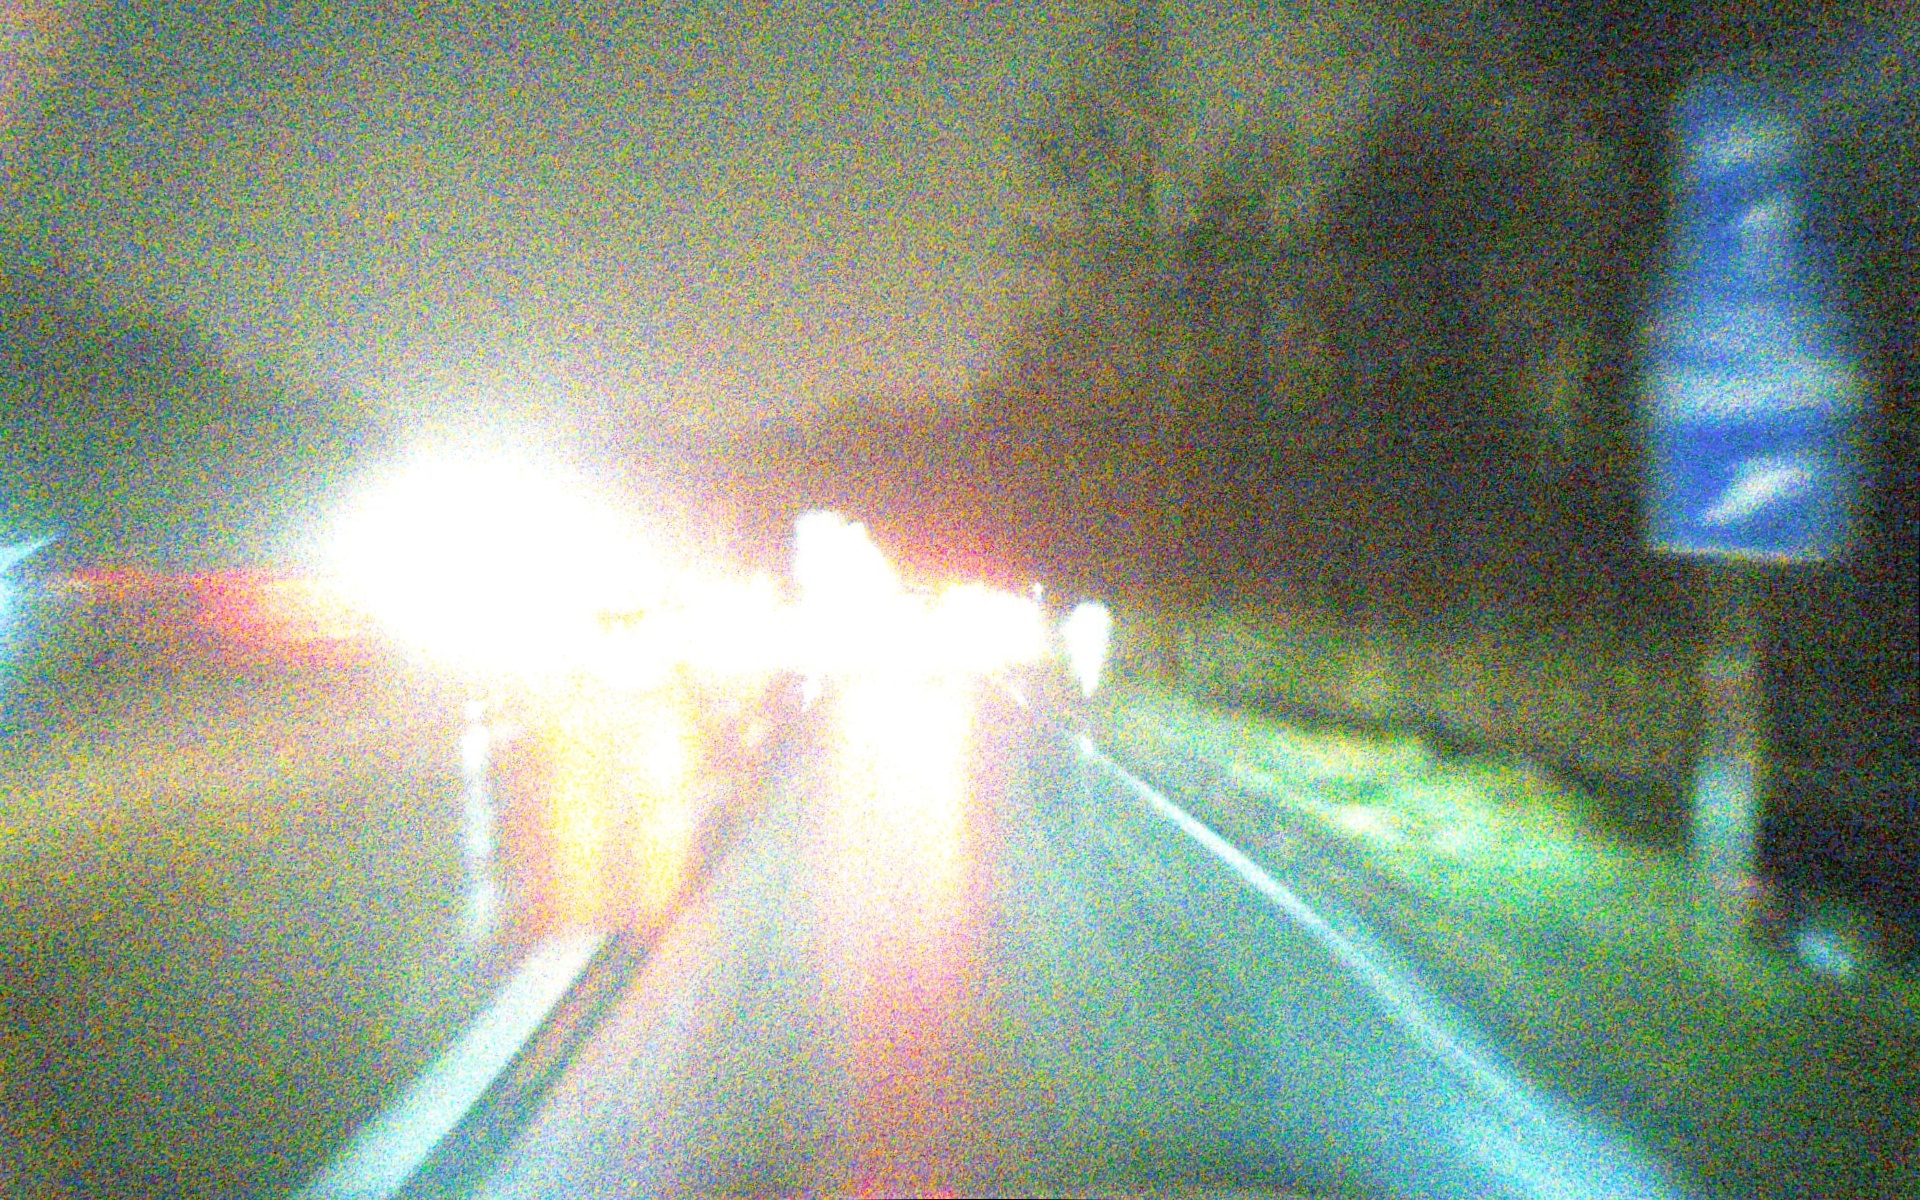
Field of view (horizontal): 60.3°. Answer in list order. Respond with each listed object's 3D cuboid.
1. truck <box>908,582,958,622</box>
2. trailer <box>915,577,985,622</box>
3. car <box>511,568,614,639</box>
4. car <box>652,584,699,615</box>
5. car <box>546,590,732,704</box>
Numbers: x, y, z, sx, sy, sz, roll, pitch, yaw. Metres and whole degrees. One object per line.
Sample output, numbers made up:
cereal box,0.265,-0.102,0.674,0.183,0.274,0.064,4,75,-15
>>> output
truck,-1.502,0.127,90.501,2.032,2.049,4.870,2,-1,-9
trailer,-0.611,-0.003,84.060,2.039,2.049,10.626,2,0,-8
car,-9.376,0.070,39.334,1.734,1.543,4.908,2,0,-6
car,-15.593,-0.003,90.948,1.853,1.577,4.000,2,-1,0
car,-4.477,0.634,23.656,1.923,1.404,4.047,2,-1,-2
